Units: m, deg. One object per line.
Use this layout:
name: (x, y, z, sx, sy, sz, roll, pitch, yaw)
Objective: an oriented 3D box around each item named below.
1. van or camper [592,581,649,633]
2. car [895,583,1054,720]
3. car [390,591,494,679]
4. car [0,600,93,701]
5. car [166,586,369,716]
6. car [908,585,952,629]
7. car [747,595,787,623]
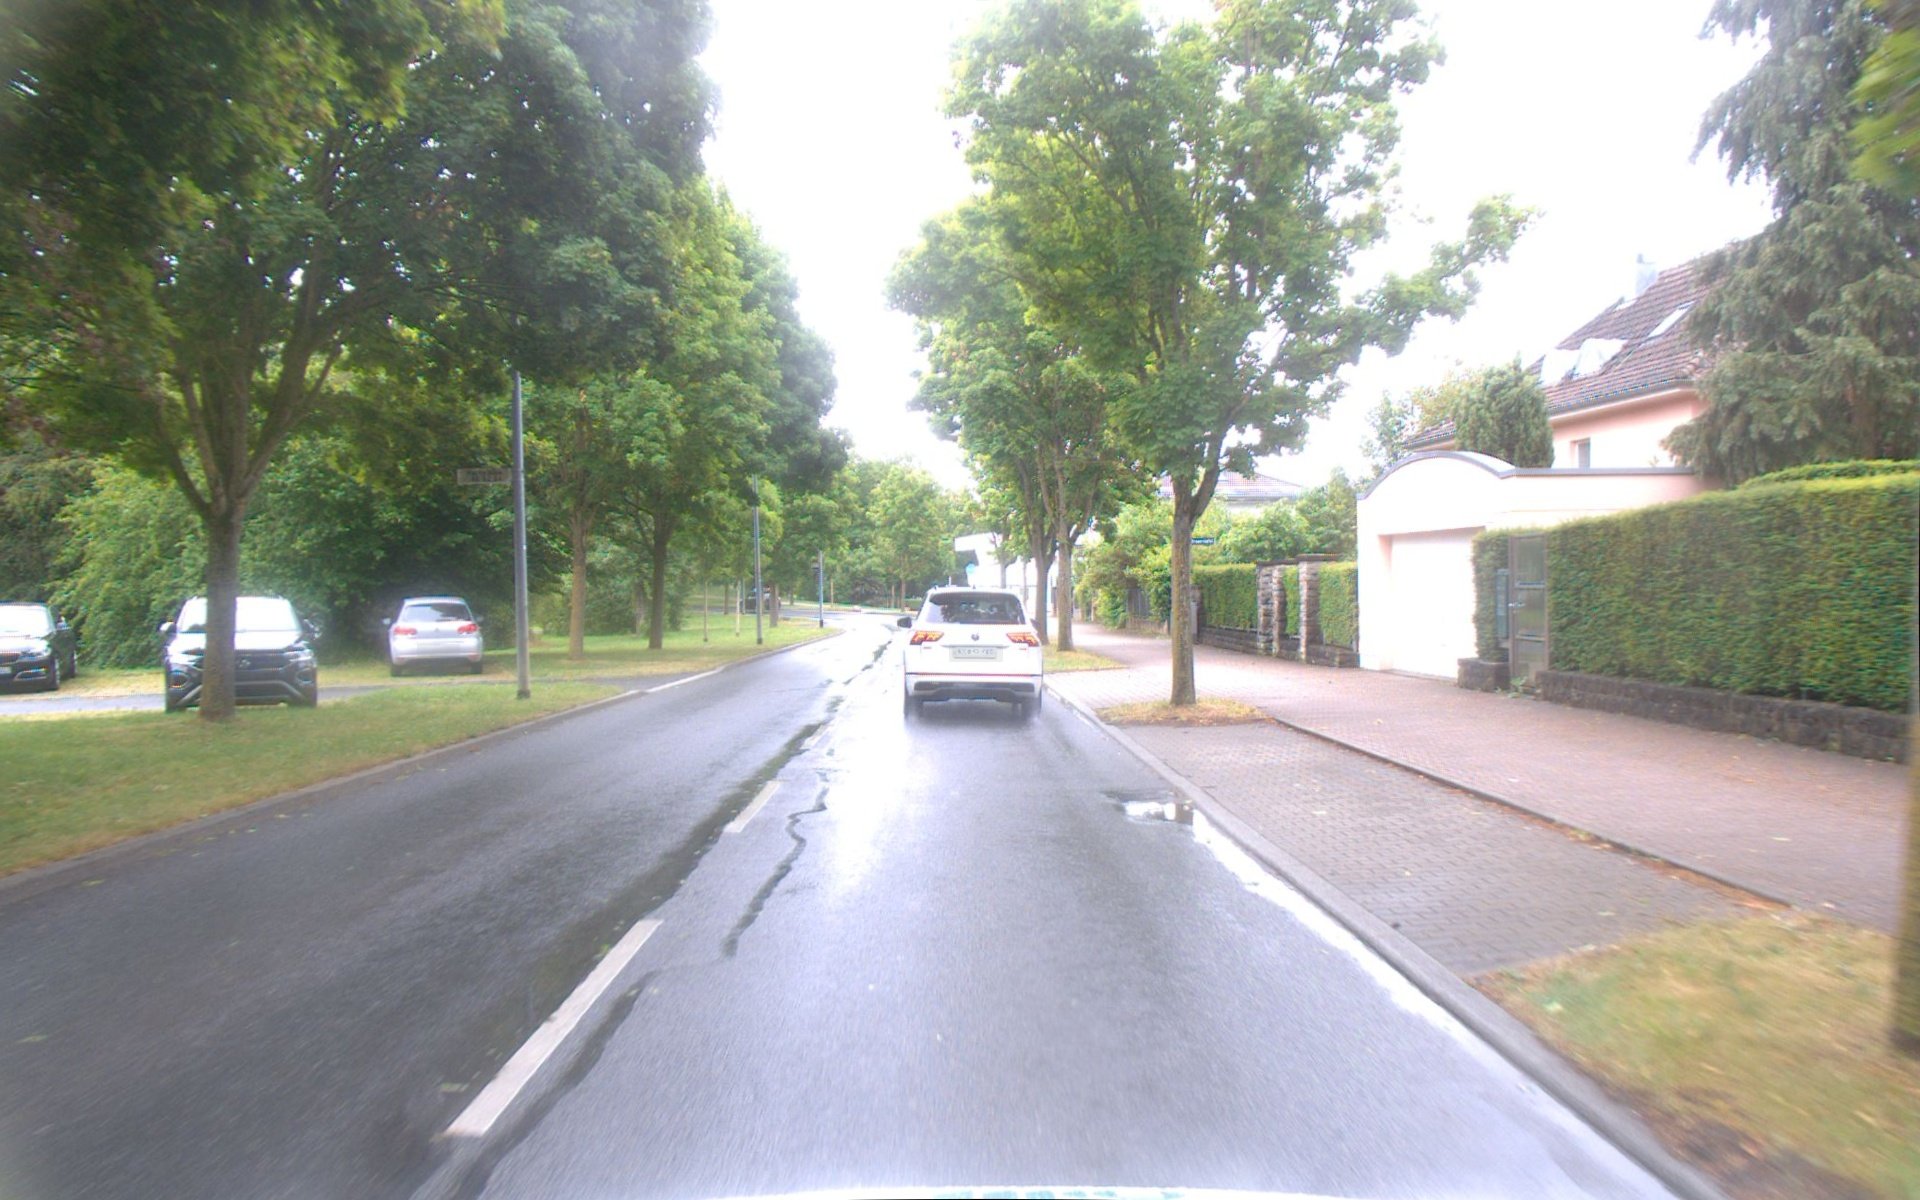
van or camper: (-16.842, 0.349, 82.350, 2.340, 2.402, 6.798, -2, 0, -8)
car: (0.175, 0.620, 22.356, 1.933, 1.681, 4.177, 0, 0, 0)
car: (-10.445, 0.652, 33.300, 1.852, 1.454, 4.196, -2, 3, -18)
car: (-17.220, 0.873, 30.465, 1.837, 1.534, 4.574, -2, 3, -24)
car: (-9.102, 0.610, 22.086, 1.857, 1.540, 4.234, -1, 0, -14)
car: (-1.494, 0.351, 80.866, 1.864, 2.049, 3.940, 1, 0, -5)
car: (-14.317, 0.663, 122.400, 1.876, 2.049, 3.915, 1, 0, -24)
